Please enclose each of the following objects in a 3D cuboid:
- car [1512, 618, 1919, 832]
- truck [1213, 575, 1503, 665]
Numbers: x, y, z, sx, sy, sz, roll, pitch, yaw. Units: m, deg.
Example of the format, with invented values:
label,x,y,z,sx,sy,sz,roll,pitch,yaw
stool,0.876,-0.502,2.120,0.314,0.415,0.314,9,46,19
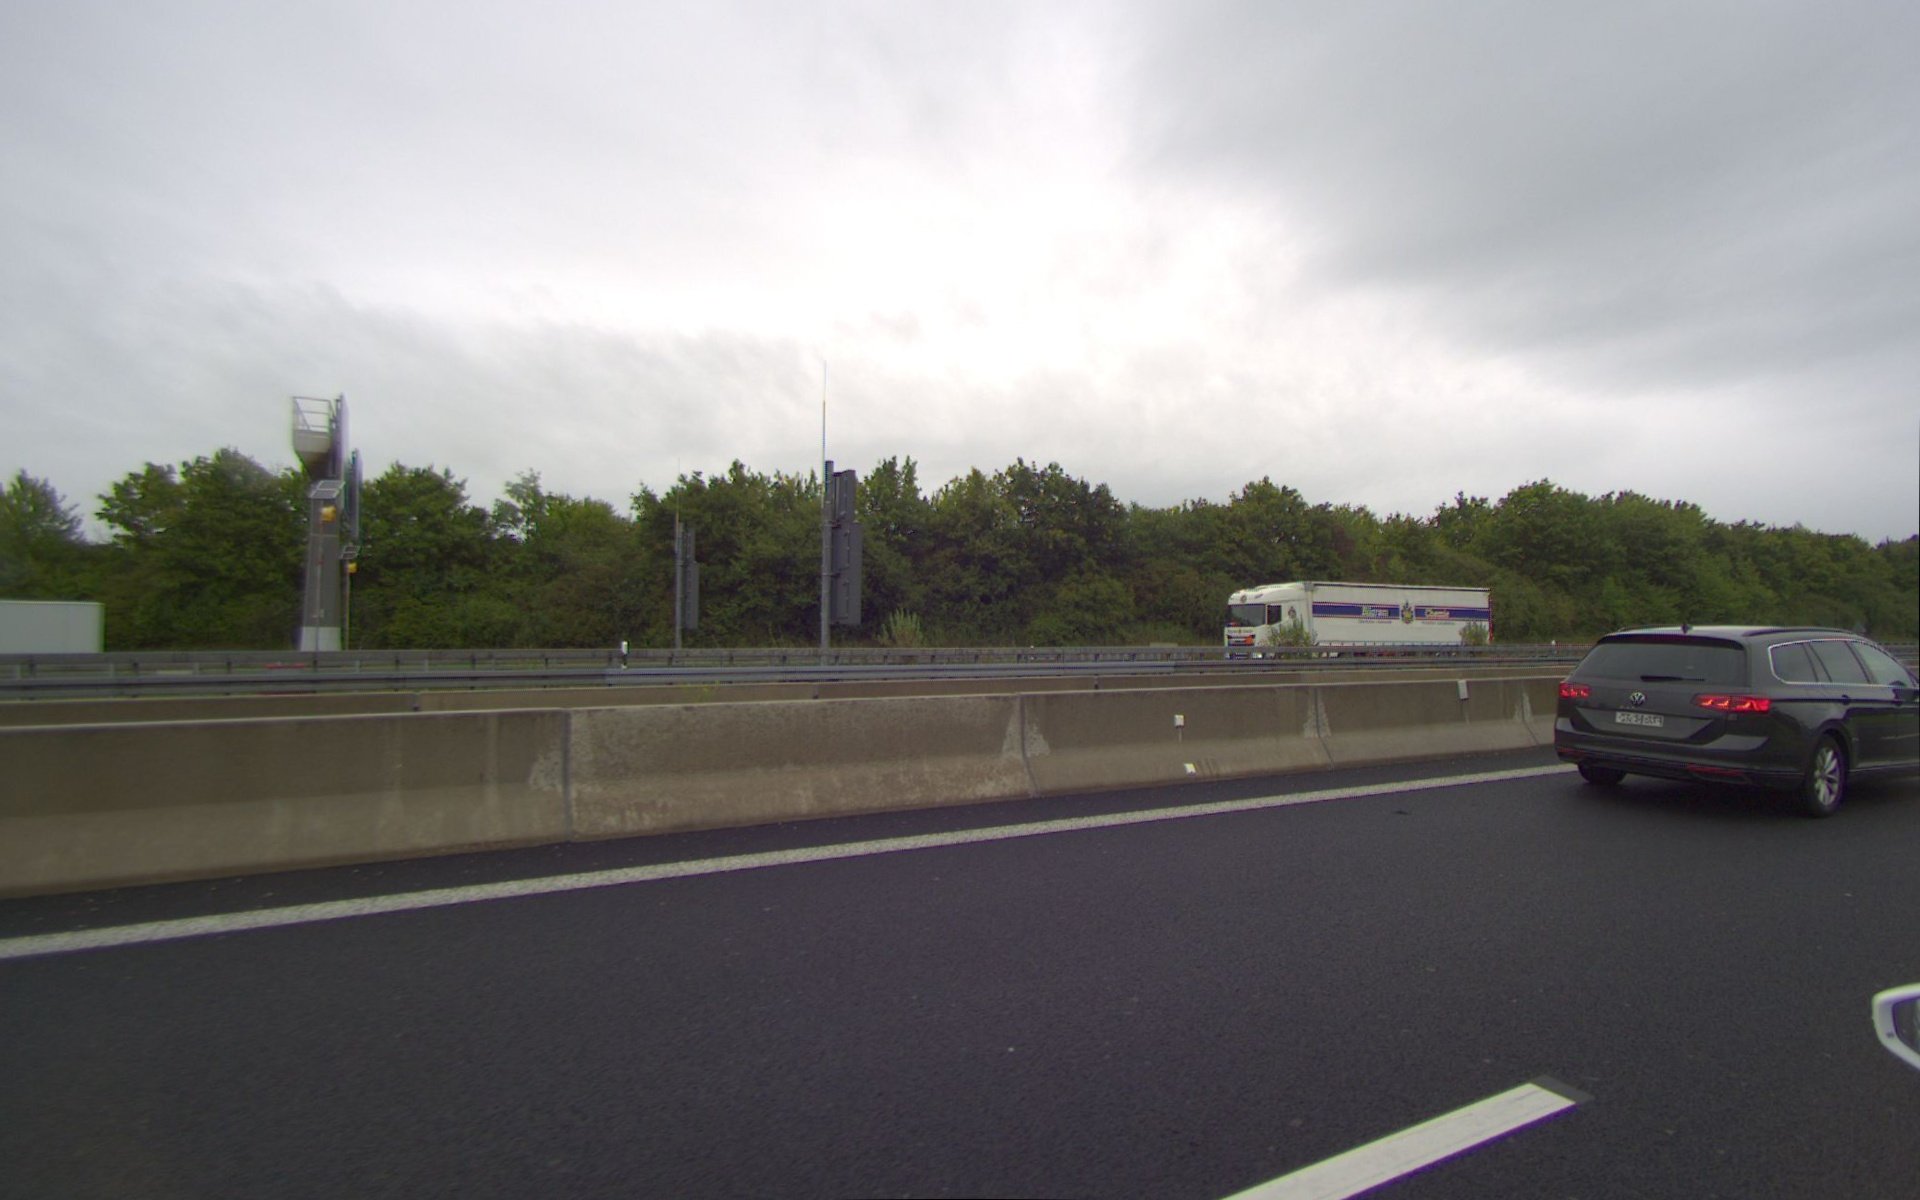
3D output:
label,x,y,z,sx,sy,sz,roll,pitch,yaw
car,7.254,0.943,9.038,4.744,1.478,1.779,1,0,-29
truck,19.546,1.044,48.297,16.931,3.859,3.163,1,-2,-30
